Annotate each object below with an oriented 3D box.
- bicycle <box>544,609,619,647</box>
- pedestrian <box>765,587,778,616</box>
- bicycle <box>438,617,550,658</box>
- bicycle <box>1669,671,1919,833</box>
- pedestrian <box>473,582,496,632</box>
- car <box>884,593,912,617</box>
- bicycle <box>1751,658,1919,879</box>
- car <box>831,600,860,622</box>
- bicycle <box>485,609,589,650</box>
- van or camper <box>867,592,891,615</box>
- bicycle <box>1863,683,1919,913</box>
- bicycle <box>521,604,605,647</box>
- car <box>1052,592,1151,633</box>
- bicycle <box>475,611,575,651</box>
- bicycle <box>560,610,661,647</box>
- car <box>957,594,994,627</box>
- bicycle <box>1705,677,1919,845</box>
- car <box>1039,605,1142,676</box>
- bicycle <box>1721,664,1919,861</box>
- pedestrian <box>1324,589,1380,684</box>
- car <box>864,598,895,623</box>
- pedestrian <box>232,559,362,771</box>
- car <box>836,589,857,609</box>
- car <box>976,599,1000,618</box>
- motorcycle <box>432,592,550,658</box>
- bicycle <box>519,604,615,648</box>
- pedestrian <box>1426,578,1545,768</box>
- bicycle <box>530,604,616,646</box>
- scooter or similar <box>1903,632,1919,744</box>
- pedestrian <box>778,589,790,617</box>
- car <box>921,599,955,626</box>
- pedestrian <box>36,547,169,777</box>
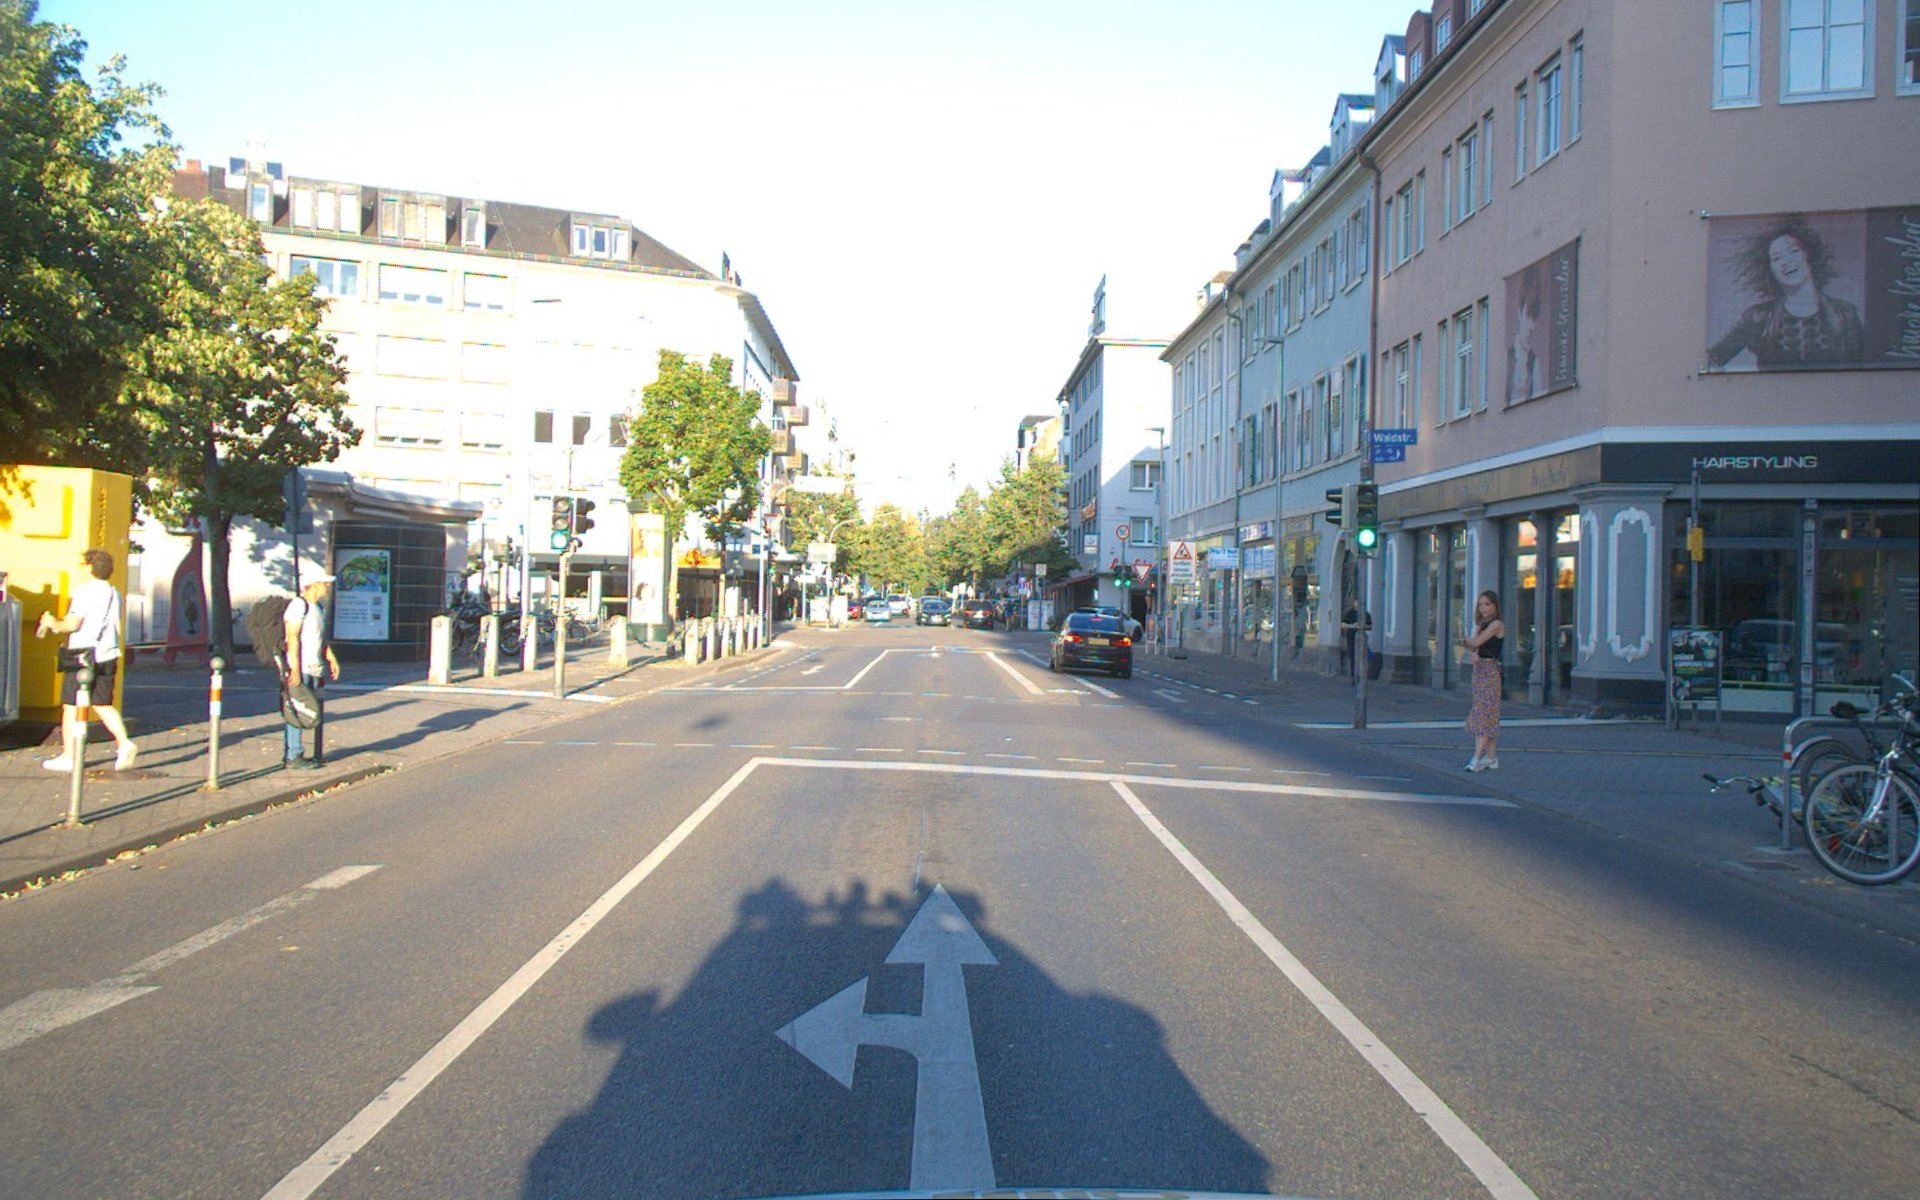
[{"bbox_3d":[-11.278,0.828,49.297,2.049,1.082,0.681,1,0,-1],"label":"bicycle"},{"bbox_3d":[-11.610,0.097,101.883,0.670,1.751,0.702,2,0,0],"label":"pedestrian"},{"bbox_3d":[-11.177,0.893,39.687,2.473,0.935,0.700,1,0,-3],"label":"bicycle"},{"bbox_3d":[5.754,1.040,11.439,1.470,1.033,0.512,2,0,-4],"label":"bicycle"},{"bbox_3d":[-15.673,0.241,54.541,0.543,1.639,0.635,1,0,-35],"label":"pedestrian"},{"bbox_3d":[-4.854,0.392,129.371,1.952,1.780,4.000,2,0,1],"label":"car"},{"bbox_3d":[5.651,0.953,9.537,1.847,1.188,0.722,1,0,-4],"label":"bicycle"},{"bbox_3d":[-8.679,0.830,125.370,1.855,1.624,4.000,2,0,1],"label":"car"},{"bbox_3d":[-11.011,0.768,43.144,2.473,1.015,0.933,1,0,-3],"label":"bicycle"},{"bbox_3d":[-9.000,0.338,183.257,2.424,2.447,3.996,2,0,-5],"label":"van or camper"},{"bbox_3d":[5.767,1.038,8.586,1.847,1.132,0.601,2,0,-4],"label":"bicycle"},{"bbox_3d":[-11.268,0.724,47.032,2.191,1.155,0.811,1,0,-4],"label":"bicycle"},{"bbox_3d":[6.087,0.547,70.841,2.302,1.632,3.868,2,0,43],"label":"car"},{"bbox_3d":[-10.778,0.764,41.037,2.281,0.935,0.700,1,0,-3],"label":"bicycle"},{"bbox_3d":[-10.593,0.859,50.183,2.881,1.040,0.843,1,0,1],"label":"bicycle"},{"bbox_3d":[0.861,0.565,93.113,1.953,1.780,3.999,1,0,-1],"label":"car"},{"bbox_3d":[5.767,1.049,10.951,1.471,1.044,0.512,0,0,-5],"label":"bicycle"},{"bbox_3d":[3.031,0.908,39.172,1.851,1.518,4.202,2,0,-3],"label":"car"},{"bbox_3d":[5.862,1.004,10.350,1.847,1.132,0.761,2,0,-4],"label":"bicycle"},{"bbox_3d":[7.701,0.705,32.518,0.742,1.808,1.047,2,0,-6],"label":"pedestrian"},{"bbox_3d":[-5.498,0.677,112.908,1.855,1.624,4.000,2,0,1],"label":"car"},{"bbox_3d":[-5.634,0.544,14.096,0.866,1.750,0.713,2,0,-12],"label":"pedestrian"},{"bbox_3d":[-11.841,-0.082,172.302,1.790,2.049,3.676,2,0,1],"label":"car"},{"bbox_3d":[2.451,0.739,144.424,1.745,1.624,3.632,2,0,-4],"label":"car"},{"bbox_3d":[-10.732,0.560,37.884,2.364,1.451,1.112,1,0,-2],"label":"motorcycle"},{"bbox_3d":[-10.870,0.715,45.825,2.473,1.166,0.700,1,0,-3],"label":"bicycle"},{"bbox_3d":[4.999,0.681,15.781,0.779,1.750,0.810,2,0,-8],"label":"pedestrian"},{"bbox_3d":[-11.204,0.726,47.950,2.275,1.151,0.800,1,0,0],"label":"bicycle"},{"bbox_3d":[11.689,1.038,19.094,1.290,1.286,0.524,2,0,21],"label":"scooter or similar"},{"bbox_3d":[-11.106,0.199,104.371,0.590,1.751,0.575,2,0,-15],"label":"pedestrian"},{"bbox_3d":[-1.274,0.750,98.171,1.846,1.512,4.000,2,0,1],"label":"car"},{"bbox_3d":[-6.788,0.476,13.134,0.858,1.750,0.753,2,0,-26],"label":"pedestrian"}]
